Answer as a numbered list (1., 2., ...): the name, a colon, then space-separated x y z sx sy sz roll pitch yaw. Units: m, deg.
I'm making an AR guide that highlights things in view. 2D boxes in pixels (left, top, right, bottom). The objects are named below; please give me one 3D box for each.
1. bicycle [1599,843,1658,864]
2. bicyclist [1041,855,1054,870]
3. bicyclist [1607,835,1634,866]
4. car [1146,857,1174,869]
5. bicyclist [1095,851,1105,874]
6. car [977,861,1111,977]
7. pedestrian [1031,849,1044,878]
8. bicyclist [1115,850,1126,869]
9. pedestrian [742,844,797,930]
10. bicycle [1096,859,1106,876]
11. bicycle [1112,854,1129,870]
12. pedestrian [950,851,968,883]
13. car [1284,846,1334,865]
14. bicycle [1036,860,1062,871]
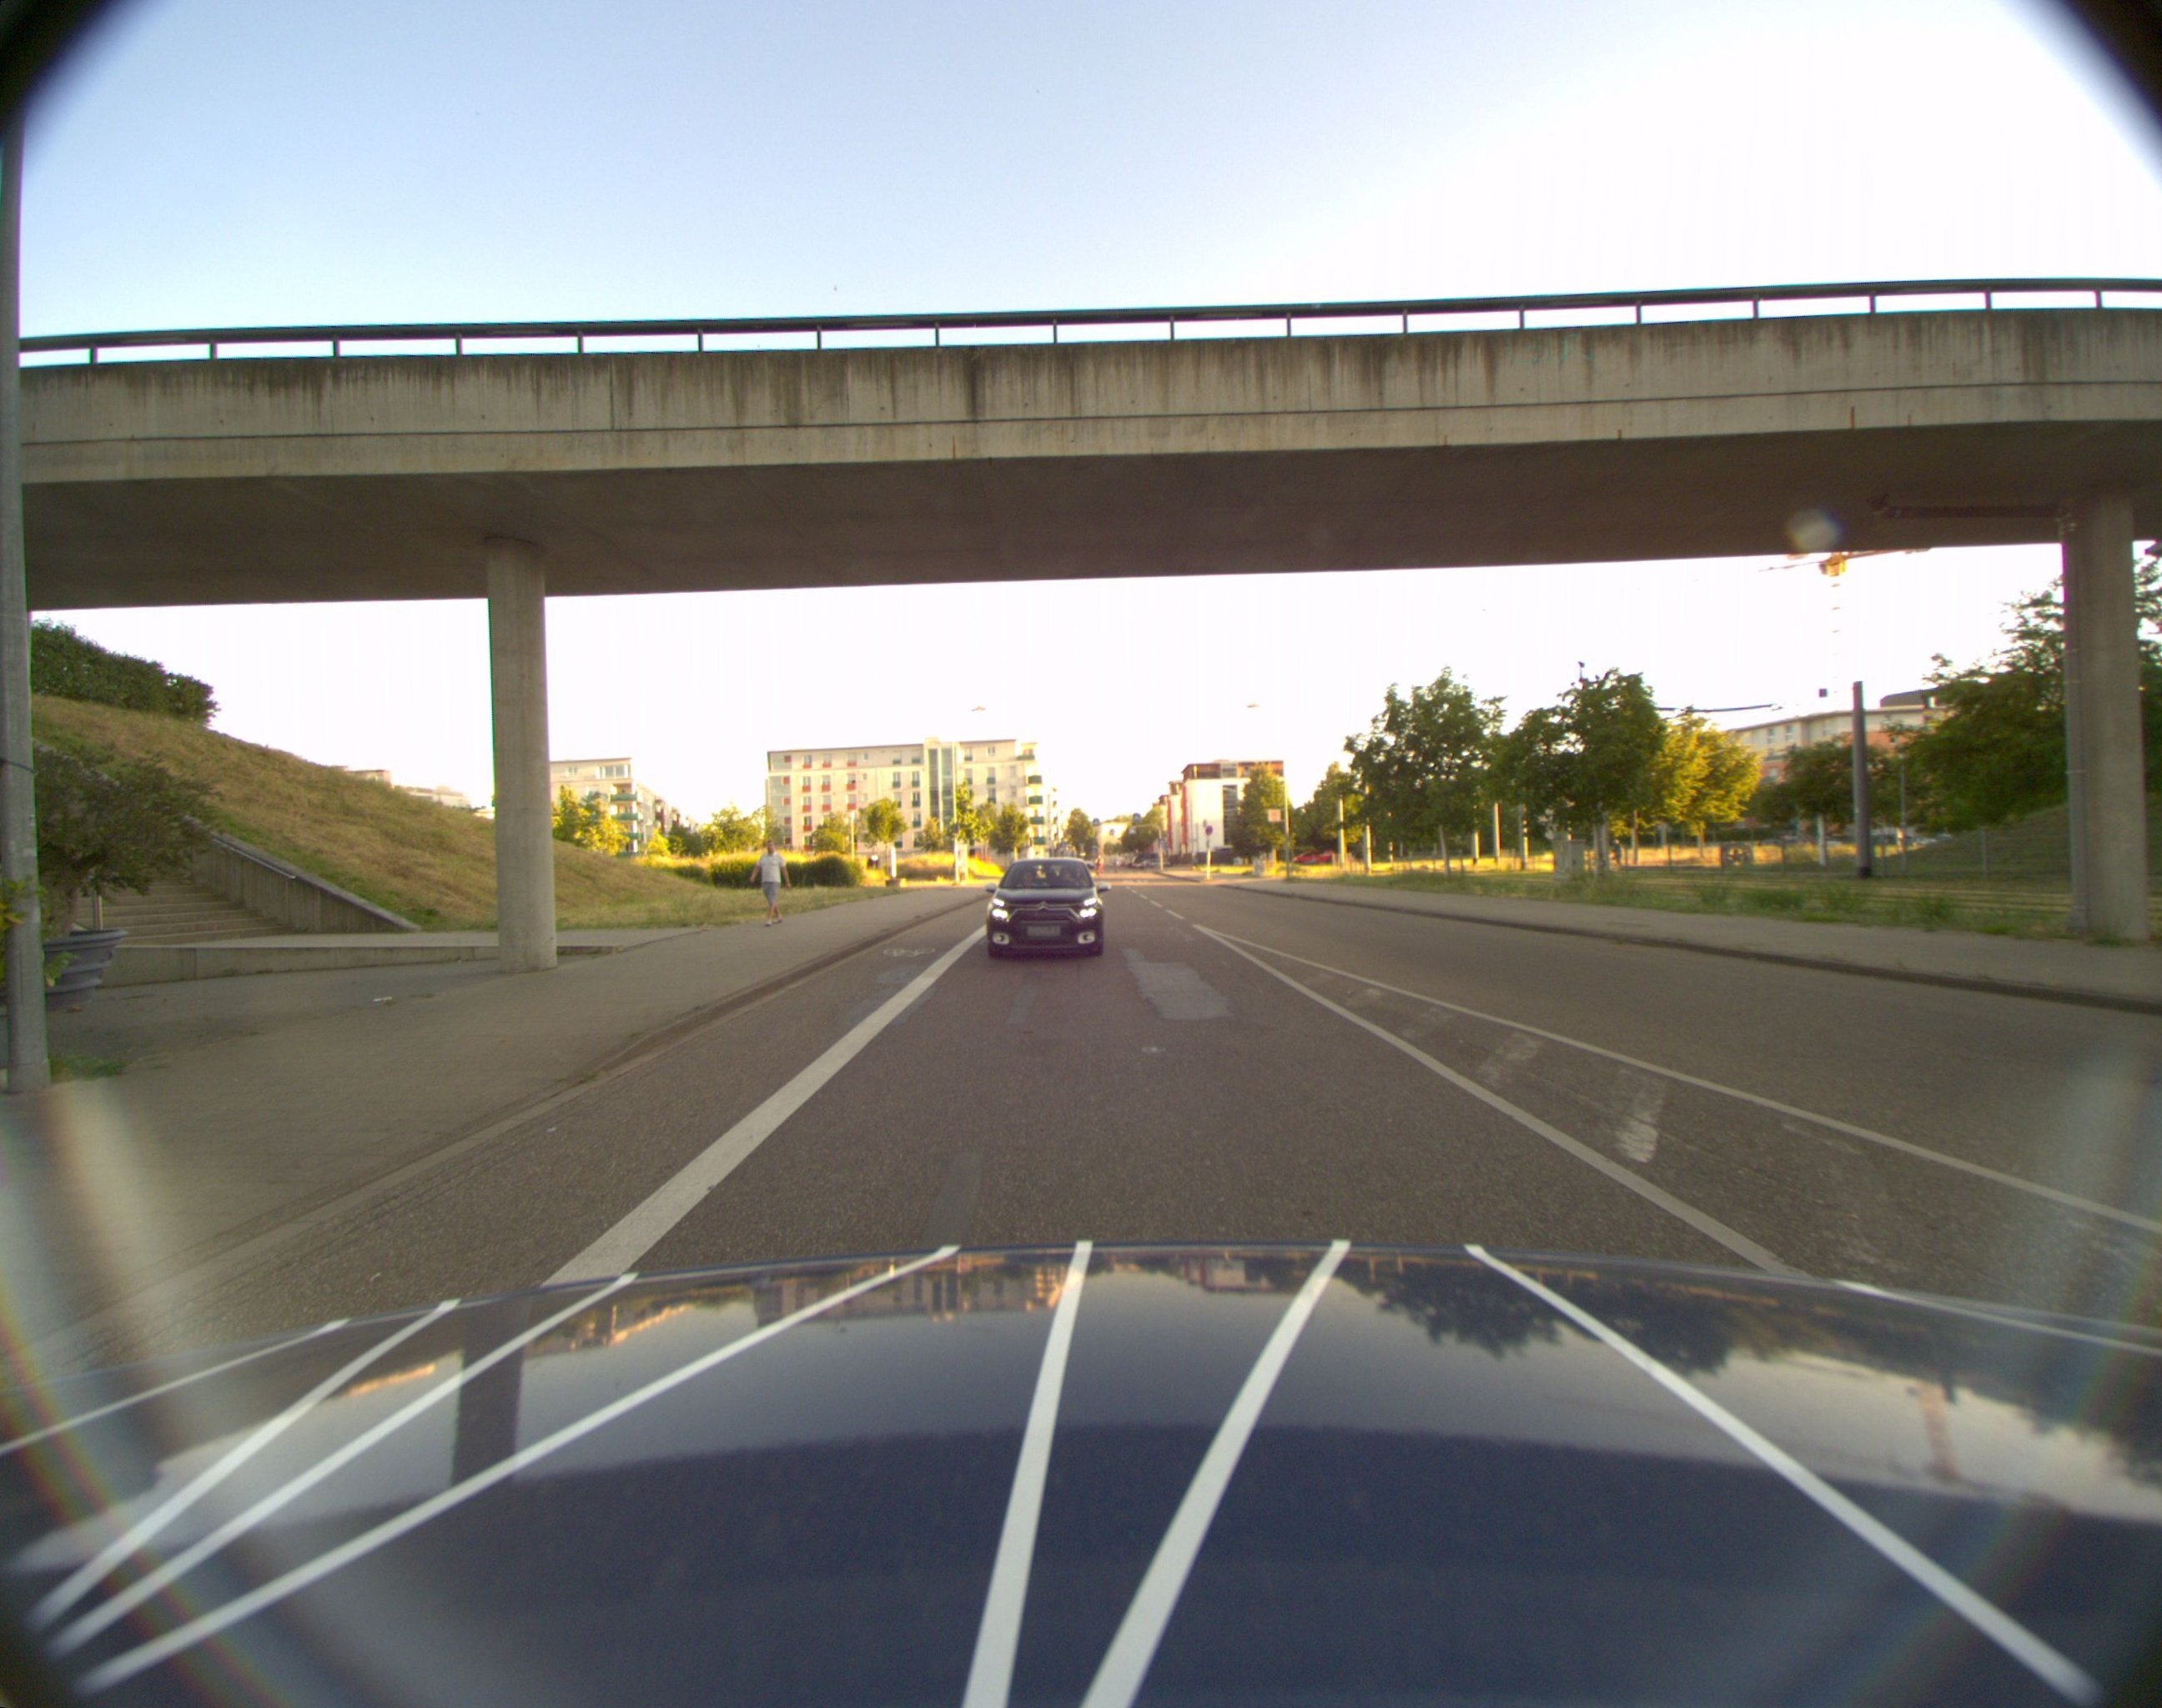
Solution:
1. bicycle: 29.751 -0.017 41.311 2.842 1.002 0.655 -2 0 -4
2. bicyclist: -3.773 0.956 85.263 0.934 1.585 1.065 -2 0 -39
3. bicyclist: 29.309 -0.177 41.275 0.910 1.622 0.717 -2 0 -5
4. car: 11.837 1.333 114.057 3.996 1.718 2.000 -2 0 2
5. bicyclist: 1.436 0.622 56.841 0.697 1.630 0.852 -2 0 3
6. car: -0.463 0.884 12.123 1.739 1.455 4.000 -2 0 1
7. pedestrian: -2.601 0.562 45.965 0.737 1.714 0.532 0 0 1
8. bicyclist: 3.990 0.570 77.509 0.882 1.865 1.035 -2 0 14
9. pedestrian: -6.360 0.659 15.538 0.737 1.714 0.906 0 0 1
10. bicycle: 1.515 0.978 56.904 0.662 1.217 2.440 -2 0 3
11. bicycle: 4.093 0.804 78.071 0.886 1.483 3.325 -2 0 17
12. pedestrian: -6.171 0.657 38.474 0.737 1.620 0.859 0 0 2
13. car: 27.447 0.199 91.624 5.518 2.002 2.001 -2 0 10
14. bicycle: -3.569 1.274 85.229 0.902 1.142 3.489 -2 0 -40
